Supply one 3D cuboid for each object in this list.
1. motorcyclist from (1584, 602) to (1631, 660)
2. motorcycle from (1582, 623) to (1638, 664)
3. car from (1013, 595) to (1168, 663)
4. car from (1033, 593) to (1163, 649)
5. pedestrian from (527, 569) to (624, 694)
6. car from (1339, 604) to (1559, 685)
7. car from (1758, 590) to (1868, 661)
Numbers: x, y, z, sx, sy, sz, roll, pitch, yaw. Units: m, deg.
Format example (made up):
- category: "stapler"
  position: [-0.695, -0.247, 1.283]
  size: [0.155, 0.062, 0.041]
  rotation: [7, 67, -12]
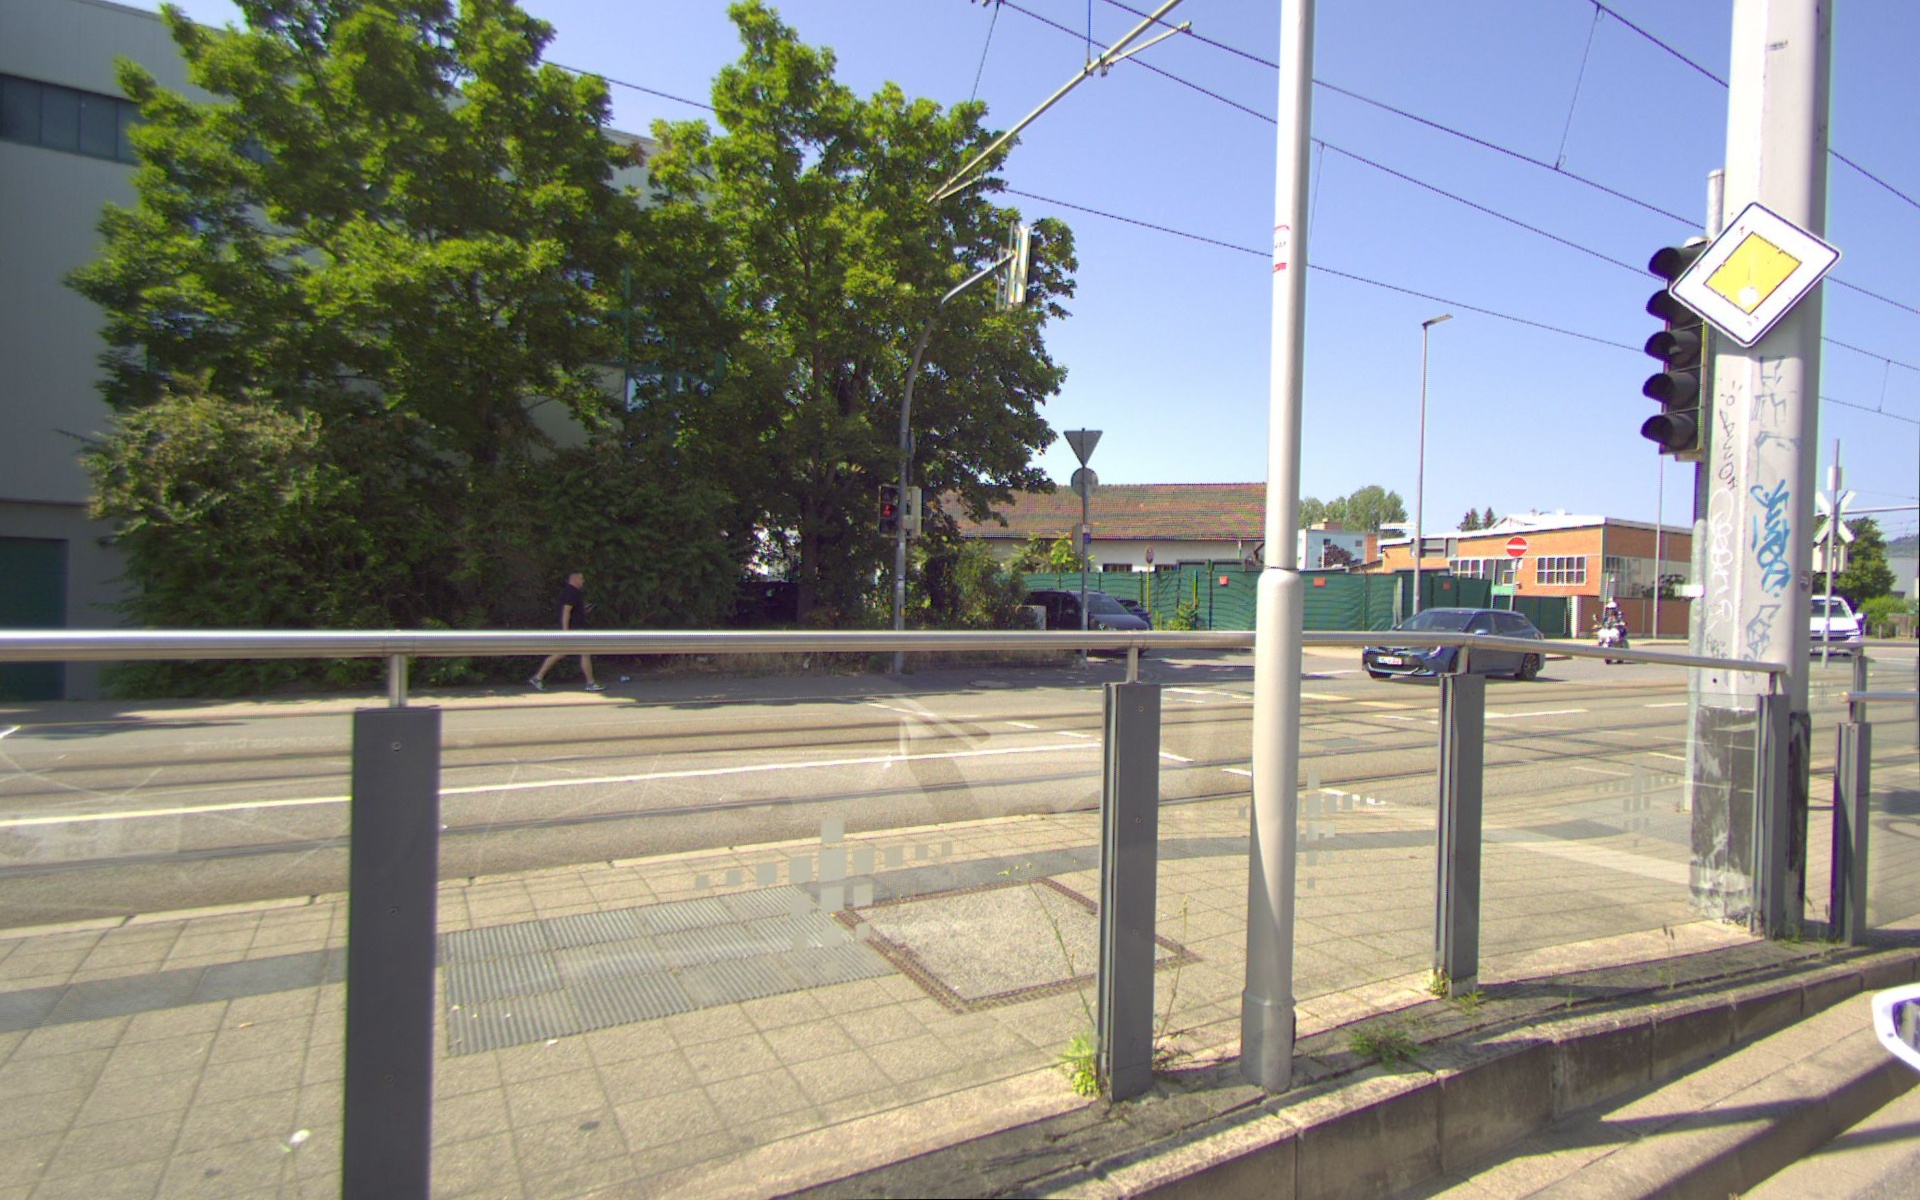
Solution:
- category: "motorcyclist"
  position: [17.331, 0.810, 26.889]
  size: [0.956, 1.495, 0.827]
  rotation: [1, 0, -43]
- category: "motorcycle"
  position: [17.515, 1.148, 27.055]
  size: [1.950, 1.025, 0.815]
  rotation: [1, 0, -43]
- category: "car"
  position: [3.286, 0.691, 26.166]
  size: [1.910, 1.604, 4.159]
  rotation: [1, 0, -29]
- category: "car"
  position: [4.056, 0.592, 30.139]
  size: [1.784, 1.557, 4.132]
  rotation: [1, 0, -28]
- category: "pedestrian"
  position: [-5.476, 0.431, 14.288]
  size: [1.146, 1.692, 0.881]
  rotation: [1, 1, -30]
- category: "car"
  position: [9.882, 0.838, 20.196]
  size: [4.545, 1.461, 1.896]
  rotation: [1, 0, -32]
- category: "car"
  position: [26.812, 0.755, 31.746]
  size: [2.133, 2.040, 5.002]
  rotation: [1, 0, 35]
